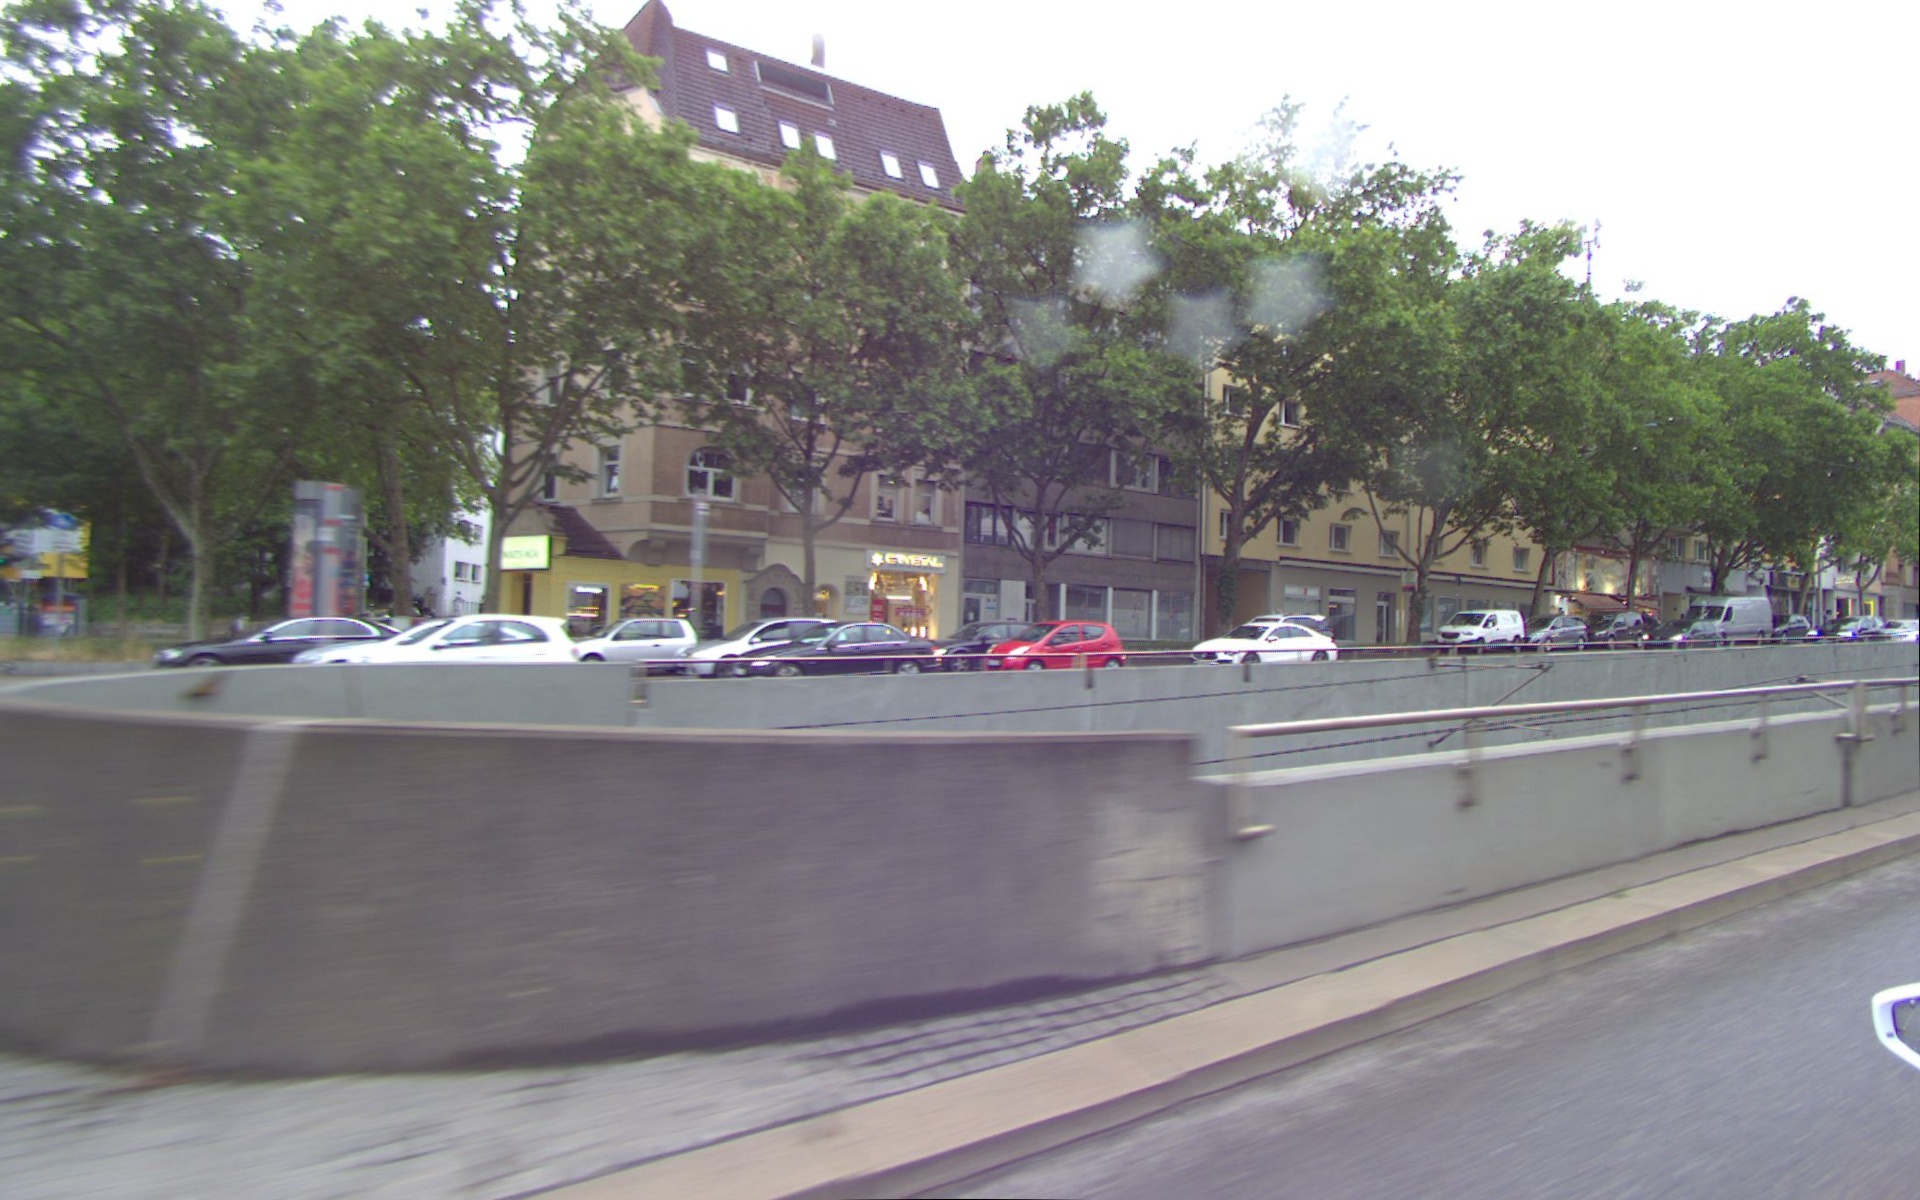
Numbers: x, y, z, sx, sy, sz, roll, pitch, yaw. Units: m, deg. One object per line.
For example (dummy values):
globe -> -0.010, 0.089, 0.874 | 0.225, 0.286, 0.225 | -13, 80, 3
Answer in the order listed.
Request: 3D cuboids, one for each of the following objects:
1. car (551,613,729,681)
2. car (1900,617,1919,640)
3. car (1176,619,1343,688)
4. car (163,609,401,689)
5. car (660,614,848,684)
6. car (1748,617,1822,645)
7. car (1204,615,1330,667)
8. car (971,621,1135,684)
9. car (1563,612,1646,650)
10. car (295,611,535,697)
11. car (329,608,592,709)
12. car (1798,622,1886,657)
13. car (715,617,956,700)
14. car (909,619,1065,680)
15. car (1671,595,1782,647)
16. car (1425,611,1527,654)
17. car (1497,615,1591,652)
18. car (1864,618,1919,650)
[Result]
car -> -8.004, 1.160, 25.200 | 3.902, 1.530, 1.783 | 2, 0, -34
car -> 65.224, 1.900, 67.572 | 4.157, 1.530, 1.786 | 0, 0, -30
car -> 8.456, 1.470, 28.273 | 4.675, 1.793, 1.786 | 2, -1, -30
car -> -14.050, 1.009, 21.034 | 3.959, 1.530, 1.783 | 2, -3, -34
car -> -4.825, 1.129, 23.660 | 3.959, 1.530, 1.783 | 2, -1, -34
car -> 47.315, 1.743, 57.594 | 4.616, 1.530, 1.786 | 1, 0, -30
car -> 10.141, 1.303, 33.126 | 3.969, 1.601, 1.786 | 0, -1, -30
car -> 2.301, 1.253, 24.577 | 3.837, 1.419, 1.576 | 2, -1, -31
car -> 30.973, 1.458, 48.227 | 4.160, 1.752, 1.784 | 0, 0, -33
car -> -10.595, 1.020, 19.723 | 3.954, 1.530, 1.785 | 2, -1, -31
car -> -8.714, 0.985, 17.627 | 3.956, 1.582, 1.784 | 2, -1, -33
car -> 40.618, 1.809, 46.239 | 4.292, 1.530, 1.786 | 2, -1, -30
car -> -2.589, 1.202, 21.347 | 4.782, 1.578, 1.784 | 2, -1, -32
car -> 0.757, 1.315, 27.303 | 3.959, 1.530, 1.783 | 2, -1, -34
car -> 41.992, 1.107, 54.973 | 6.849, 2.698, 2.441 | 0, 0, -30
car -> 22.469, 1.370, 43.714 | 4.850, 1.788, 1.865 | 0, 0, -34
car -> 26.900, 1.511, 46.215 | 4.422, 1.604, 1.867 | 0, 0, -32
car -> 48.797, 1.718, 51.781 | 4.763, 1.530, 1.838 | 1, 0, -30
